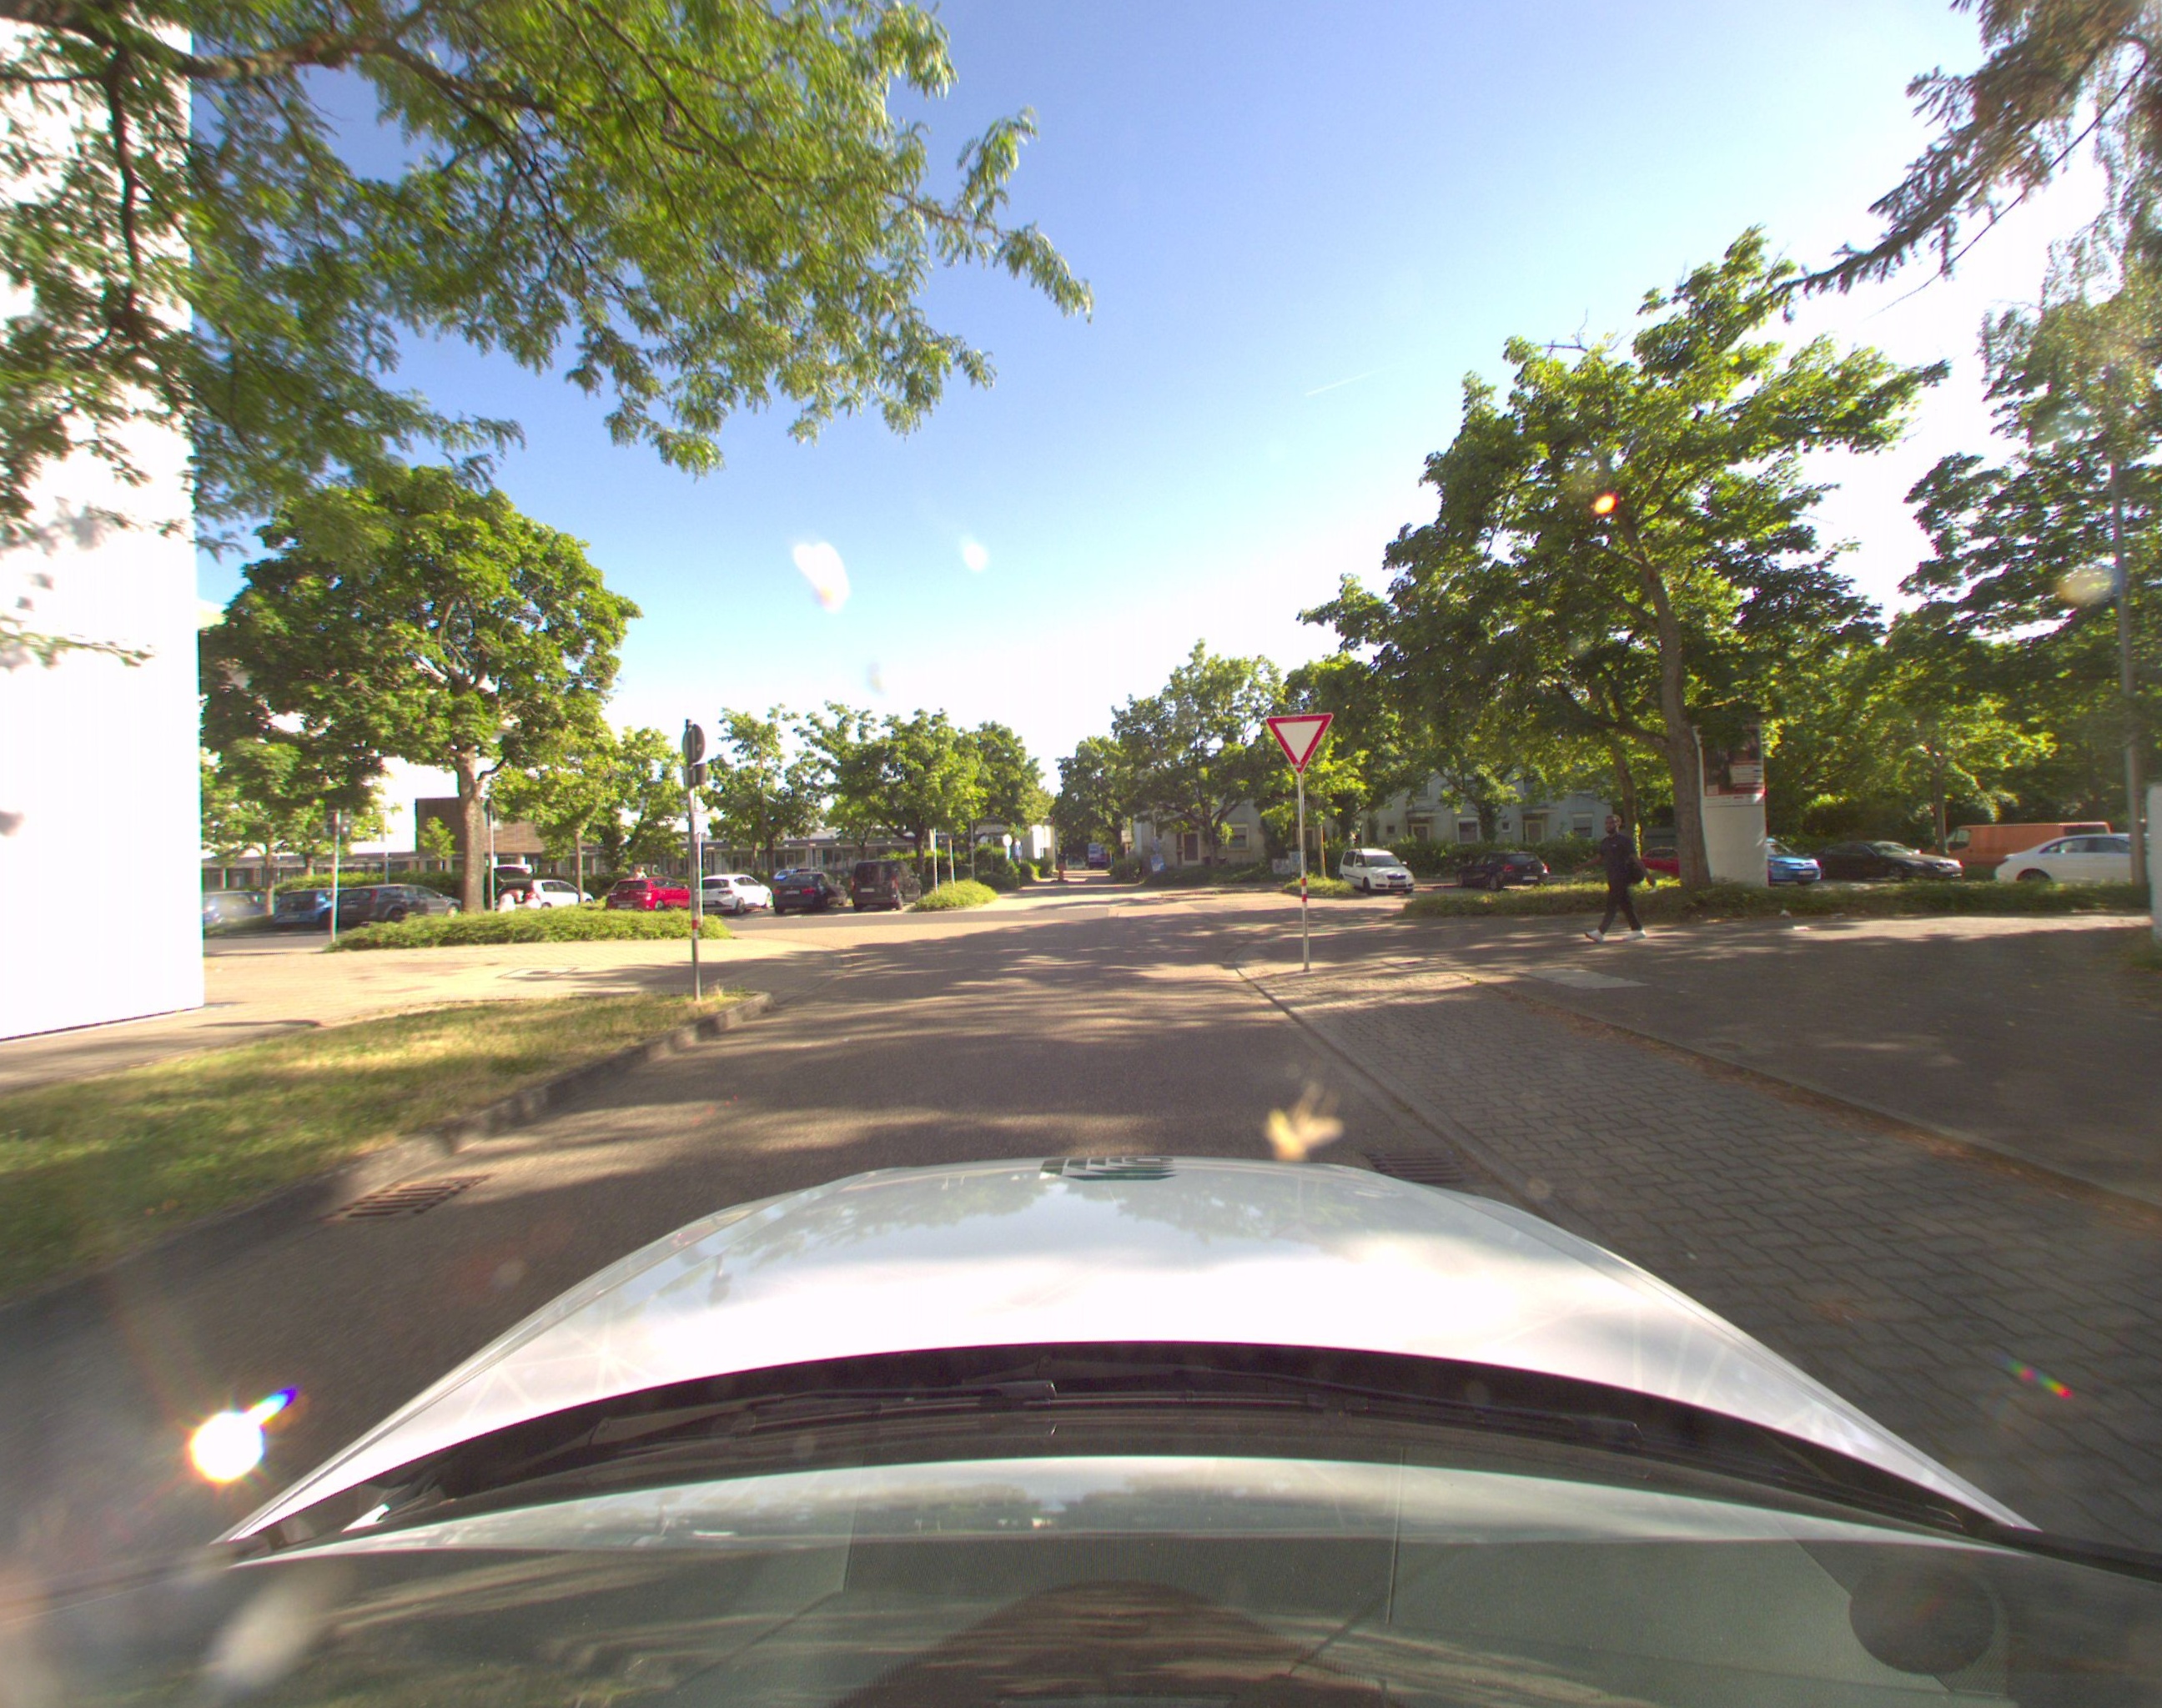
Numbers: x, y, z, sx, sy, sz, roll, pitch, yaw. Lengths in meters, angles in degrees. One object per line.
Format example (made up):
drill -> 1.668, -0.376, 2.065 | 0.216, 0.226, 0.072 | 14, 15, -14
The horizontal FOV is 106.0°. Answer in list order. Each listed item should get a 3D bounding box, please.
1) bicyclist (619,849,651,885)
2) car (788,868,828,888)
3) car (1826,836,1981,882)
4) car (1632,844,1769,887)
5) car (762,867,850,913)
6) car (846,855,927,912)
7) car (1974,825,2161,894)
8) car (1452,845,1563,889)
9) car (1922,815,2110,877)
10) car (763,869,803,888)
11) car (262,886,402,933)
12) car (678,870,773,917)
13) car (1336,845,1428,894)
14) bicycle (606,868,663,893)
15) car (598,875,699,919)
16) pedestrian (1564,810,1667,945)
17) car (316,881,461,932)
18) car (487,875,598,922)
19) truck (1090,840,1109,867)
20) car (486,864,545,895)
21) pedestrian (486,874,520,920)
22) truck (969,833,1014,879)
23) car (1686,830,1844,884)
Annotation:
bicyclist -> -19.017, 0.548, 34.719 | 1.008, 1.523, 0.596 | -1, 0, 0
car -> -23.423, 2.045, 70.005 | 1.828, 1.497, 3.911 | -2, 0, 3
car -> 29.623, 0.132, 29.504 | 1.757, 1.474, 3.786 | -2, 1, -1
car -> 22.545, 0.370, 29.880 | 1.818, 1.406, 4.167 | -2, 1, -1
car -> -10.136, 1.287, 30.362 | 1.818, 1.406, 4.167 | -2, 1, -1
car -> -7.150, 1.020, 30.370 | 1.867, 1.846, 4.170 | -2, 1, 1
car -> 23.070, 0.139, 17.895 | 1.816, 1.406, 4.690 | -2, -2, 2
car -> 15.471, 0.434, 29.823 | 1.818, 1.406, 4.167 | -2, 1, -1
car -> 34.090, -0.304, 29.898 | 1.962, 2.032, 4.259 | -2, 1, -1
car -> -25.539, 2.076, 69.921 | 1.828, 1.497, 3.911 | -2, 0, 3
car -> -27.818, 2.020, 30.434 | 1.611, 1.468, 3.911 | -1, 0, -1
car -> -13.077, 1.413, 30.232 | 1.797, 1.436, 3.911 | -1, 1, -1
car -> 10.983, 0.516, 30.029 | 1.818, 1.598, 4.167 | -2, 1, -1
bicycle -> -19.012, 1.123, 34.714 | 2.075, 0.996, 0.596 | -1, 0, 0
car -> -15.904, 1.539, 30.194 | 1.662, 1.426, 3.911 | -1, 0, -1
pedestrian -> 7.046, 0.280, 10.745 | 0.810, 1.684, 0.830 | -2, 0, -30
car -> -25.494, 1.884, 30.195 | 1.726, 1.519, 4.198 | -2, 0, -1
car -> -20.479, 1.631, 31.174 | 1.669, 1.578, 3.911 | -1, 0, -1
truck -> 2.887, -0.065, 124.972 | 2.750, 3.869, 9.332 | -1, 0, 2
car -> -48.085, 2.139, 69.349 | 2.216, 2.491, 3.649 | -2, 0, 3
pedestrian -> -20.479, 1.503, 28.855 | 0.665, 1.579, 0.771 | -1, -1, 29
truck -> -7.800, 0.143, 71.506 | 2.791, 3.806, 6.929 | -1, 0, 3
car -> 24.787, 0.063, 29.785 | 1.818, 1.772, 4.664 | -2, 1, -1
